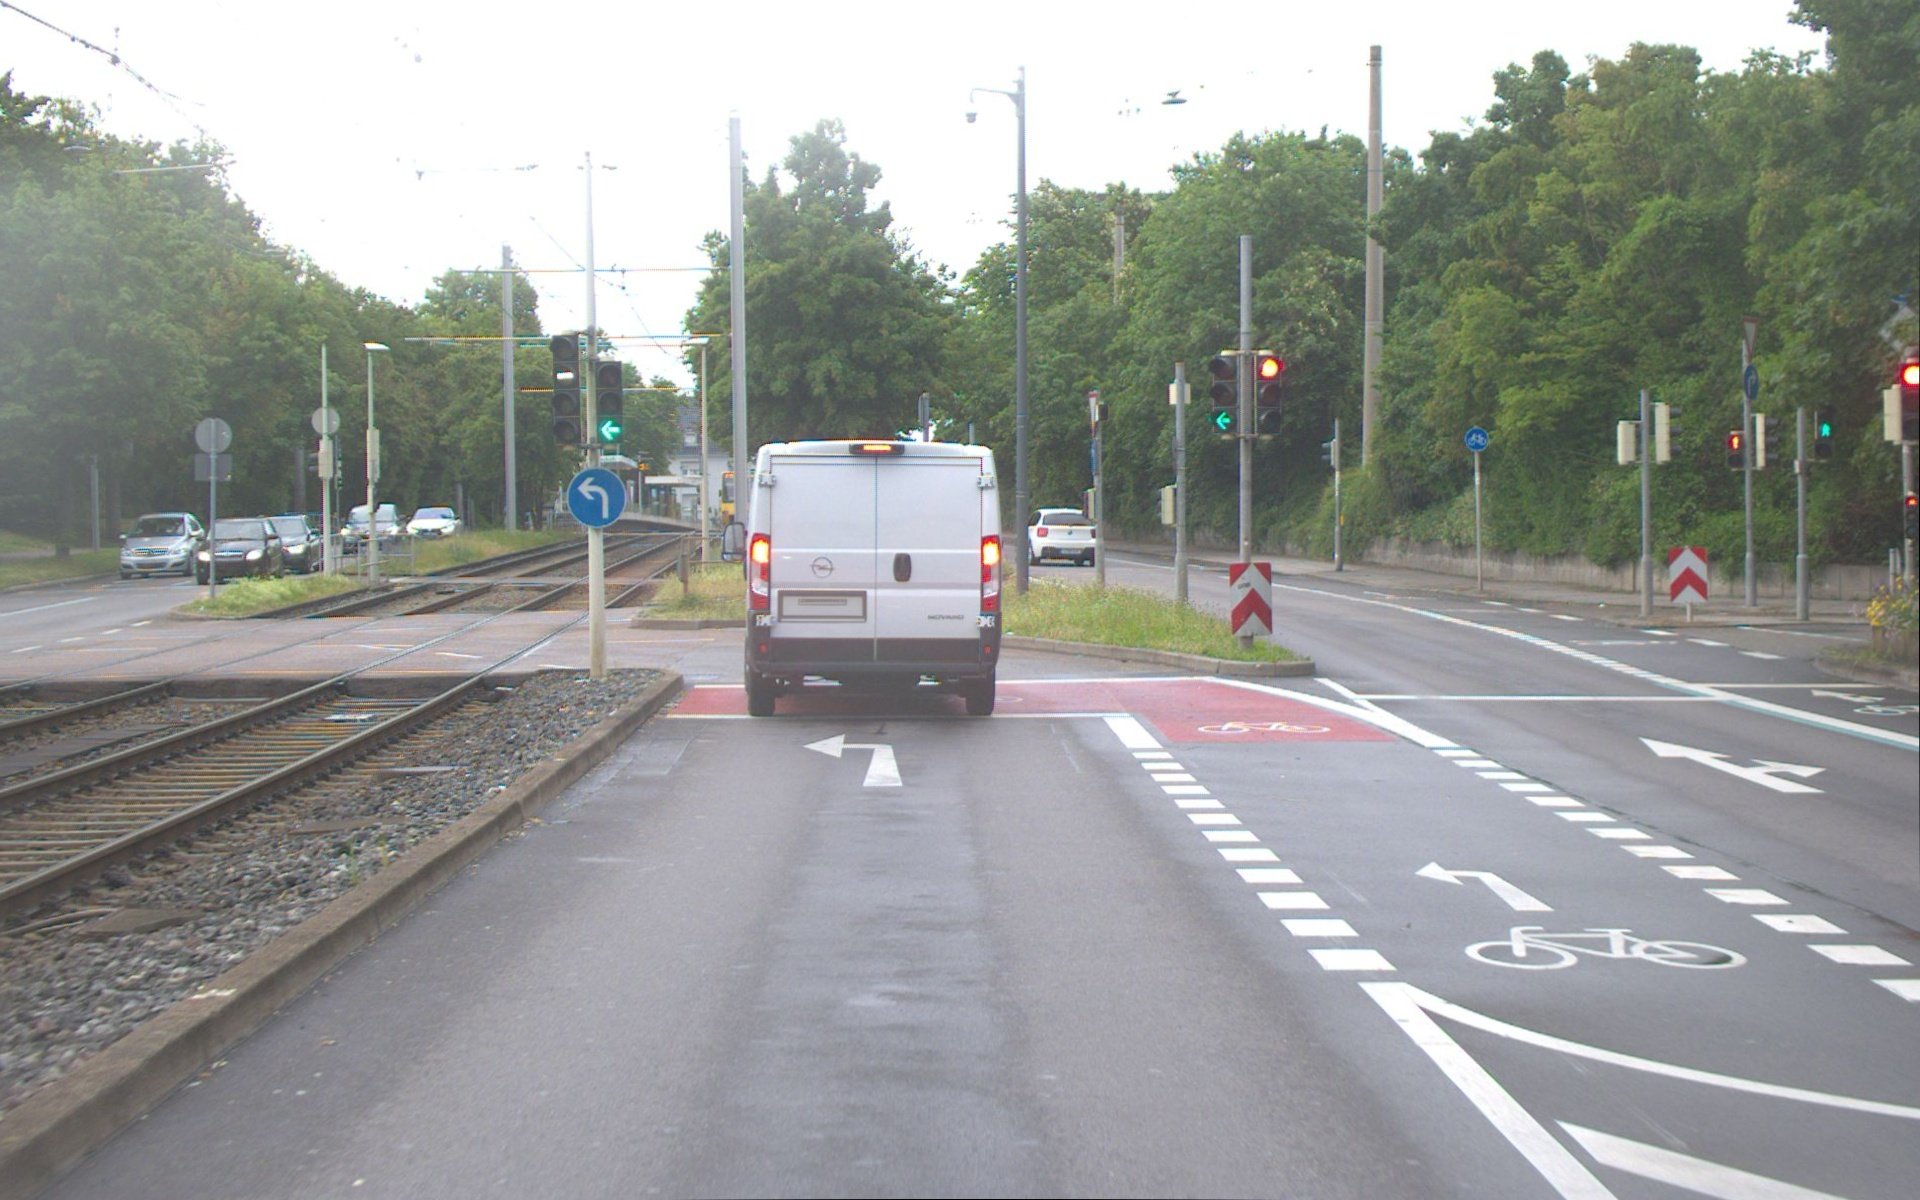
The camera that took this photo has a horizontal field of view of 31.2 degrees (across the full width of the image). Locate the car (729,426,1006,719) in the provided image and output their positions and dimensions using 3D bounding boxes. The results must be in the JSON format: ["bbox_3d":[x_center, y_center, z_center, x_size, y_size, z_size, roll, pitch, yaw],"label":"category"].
[{"bbox_3d":[-0.890,-0.289,29.465,2.146,2.275,5.064,0,2,-4],"label":"car"}]

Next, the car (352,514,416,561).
[{"bbox_3d":[-18.370,-2.015,109.672,1.601,1.397,3.792,1,2,-3],"label":"car"}]

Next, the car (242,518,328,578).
[{"bbox_3d":[-16.906,-1.314,86.271,1.601,1.397,3.792,1,2,-3],"label":"car"}]

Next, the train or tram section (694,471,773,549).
[{"bbox_3d":[-13.197,-5.180,201.648,4.060,3.881,15.040,1,-1,-2],"label":"train or tram section"}]

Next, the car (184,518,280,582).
[{"bbox_3d":[-16.807,-1.172,79.514,1.601,1.397,3.792,1,2,-3],"label":"car"}]

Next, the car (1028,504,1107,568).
[{"bbox_3d":[2.650,-1.620,85.760,1.703,1.516,3.792,1,2,-2],"label":"car"}]

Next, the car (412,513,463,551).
[{"bbox_3d":[-20.285,-2.661,133.566,1.601,1.397,3.792,1,2,-3],"label":"car"}]

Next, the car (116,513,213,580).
[{"bbox_3d":[-20.350,-1.396,88.100,1.719,1.548,3.864,-3,2,-3],"label":"car"}]
